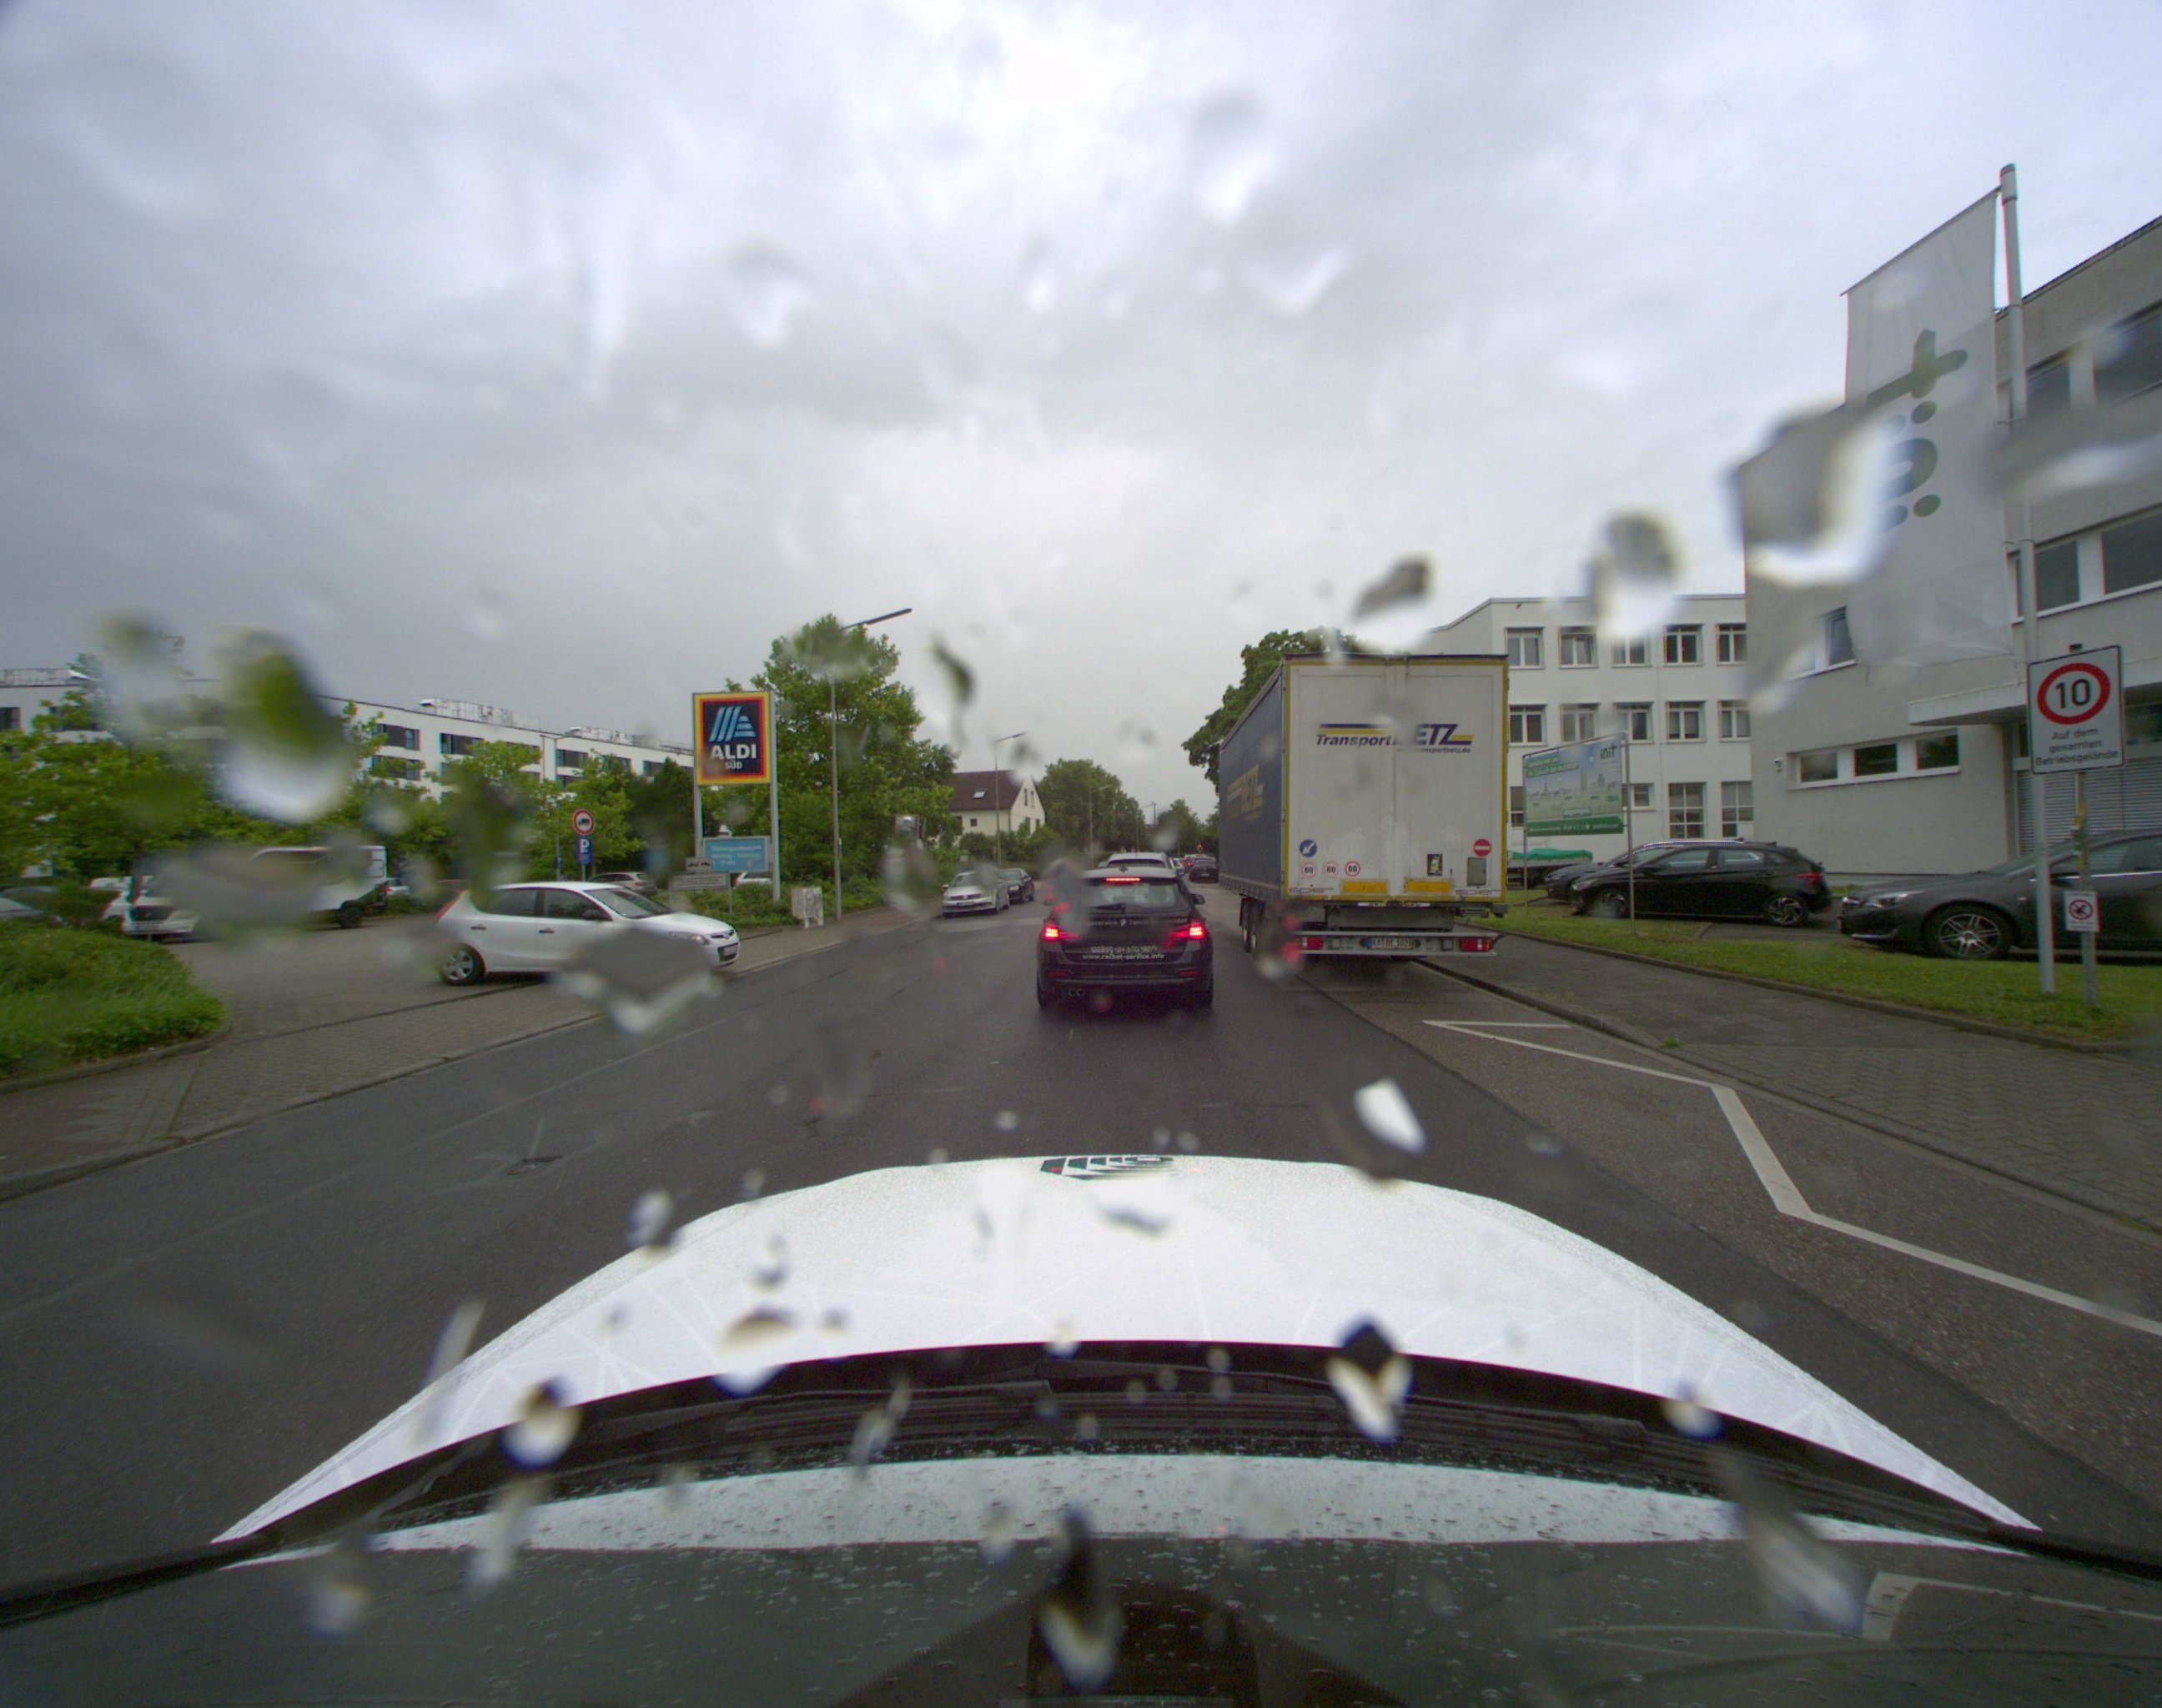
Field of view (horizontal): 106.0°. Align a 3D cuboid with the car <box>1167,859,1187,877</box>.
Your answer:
[{"bbox_3d":[9.223,1.342,77.996,1.794,1.587,4.009,-1,-1,8],"label":"car"}]

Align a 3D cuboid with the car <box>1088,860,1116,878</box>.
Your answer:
[{"bbox_3d":[1.825,1.257,69.455,1.694,1.367,3.850,-4,0,11],"label":"car"}]

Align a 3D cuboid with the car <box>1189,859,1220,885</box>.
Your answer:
[{"bbox_3d":[7.990,1.143,53.089,1.795,1.587,4.007,-1,-1,6],"label":"car"}]

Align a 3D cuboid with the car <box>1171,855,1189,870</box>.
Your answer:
[{"bbox_3d":[10.541,0.925,86.329,1.794,1.587,4.009,-1,-1,8],"label":"car"}]

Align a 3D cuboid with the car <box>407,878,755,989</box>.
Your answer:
[{"bbox_3d":[-7.429,1.145,12.428,4.180,1.460,1.711,-1,-1,-3],"label":"car"}]

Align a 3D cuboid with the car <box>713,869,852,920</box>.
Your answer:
[{"bbox_3d":[-8.981,1.208,24.684,3.556,1.460,1.713,0,-1,2],"label":"car"}]

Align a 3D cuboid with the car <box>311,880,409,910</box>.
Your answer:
[{"bbox_3d":[-42.054,2.361,47.551,3.971,1.529,2.001,-2,-1,2],"label":"car"}]

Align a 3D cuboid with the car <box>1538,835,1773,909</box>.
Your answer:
[{"bbox_3d":[12.620,0.346,18.024,4.098,1.415,1.701,0,2,41],"label":"car"}]

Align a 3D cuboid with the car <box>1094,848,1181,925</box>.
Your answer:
[{"bbox_3d":[1.410,0.711,19.095,1.795,1.587,4.007,-1,-1,6],"label":"car"}]

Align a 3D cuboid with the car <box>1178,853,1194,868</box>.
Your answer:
[{"bbox_3d":[12.163,0.734,94.080,1.794,1.586,4.009,-2,0,8],"label":"car"}]

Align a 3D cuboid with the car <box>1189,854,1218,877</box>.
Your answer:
[{"bbox_3d":[8.651,0.824,57.784,1.795,1.587,4.007,-1,-1,6],"label":"car"}]

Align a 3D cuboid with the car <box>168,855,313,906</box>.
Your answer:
[{"bbox_3d":[-40.976,1.233,39.908,1.986,2.297,4.814,-2,-1,1],"label":"car"}]

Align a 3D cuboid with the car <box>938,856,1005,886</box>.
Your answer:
[{"bbox_3d":[-6.913,1.080,51.603,3.806,1.594,1.714,-4,-1,6],"label":"car"}]

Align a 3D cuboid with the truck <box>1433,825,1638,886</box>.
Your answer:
[{"bbox_3d":[17.884,0.079,32.300,6.897,2.140,2.095,-2,-1,1],"label":"truck"}]

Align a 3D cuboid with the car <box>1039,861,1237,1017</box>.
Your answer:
[{"bbox_3d":[0.481,0.811,9.477,1.799,1.395,3.997,-1,-1,-1],"label":"car"}]

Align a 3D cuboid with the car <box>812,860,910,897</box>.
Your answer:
[{"bbox_3d":[-10.213,1.122,38.056,3.972,1.540,1.911,-2,-1,1],"label":"car"}]

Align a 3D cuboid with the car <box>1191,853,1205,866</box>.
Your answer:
[{"bbox_3d":[16.099,0.745,111.709,1.794,1.586,4.009,-2,0,8],"label":"car"}]

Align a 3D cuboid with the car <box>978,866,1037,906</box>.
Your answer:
[{"bbox_3d":[-2.907,1.264,32.960,1.698,1.367,3.842,-4,0,4],"label":"car"}]

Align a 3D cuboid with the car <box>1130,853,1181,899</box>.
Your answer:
[{"bbox_3d":[2.844,0.792,30.716,1.795,1.587,4.007,-1,-1,6],"label":"car"}]

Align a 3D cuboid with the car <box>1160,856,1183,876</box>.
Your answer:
[{"bbox_3d":[7.595,0.977,68.054,1.794,1.587,4.009,-1,-1,8],"label":"car"}]

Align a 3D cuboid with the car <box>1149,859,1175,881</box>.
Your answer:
[{"bbox_3d":[6.155,1.205,61.615,1.794,1.587,4.009,-1,-1,8],"label":"car"}]

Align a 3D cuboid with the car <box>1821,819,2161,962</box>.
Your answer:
[{"bbox_3d":[11.521,0.364,9.125,4.615,1.468,1.803,-2,-1,38],"label":"car"}]

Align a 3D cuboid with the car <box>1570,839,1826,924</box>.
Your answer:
[{"bbox_3d":[11.722,0.430,15.643,3.732,1.396,1.738,2,2,40],"label":"car"}]

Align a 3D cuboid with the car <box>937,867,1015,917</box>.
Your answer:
[{"bbox_3d":[-3.396,1.205,27.137,1.699,1.367,4.604,-4,0,2],"label":"car"}]

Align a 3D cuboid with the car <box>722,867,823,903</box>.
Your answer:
[{"bbox_3d":[-14.491,1.451,38.382,3.972,1.540,1.911,-2,-1,1],"label":"car"}]

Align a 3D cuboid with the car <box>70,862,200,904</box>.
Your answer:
[{"bbox_3d":[-48.616,1.463,41.990,1.986,2.014,4.001,-1,-1,1],"label":"car"}]

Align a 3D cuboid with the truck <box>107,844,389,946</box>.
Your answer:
[{"bbox_3d":[-24.843,1.110,24.828,1.987,2.657,6.395,-2,0,0],"label":"truck"}]

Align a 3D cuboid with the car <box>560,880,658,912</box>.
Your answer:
[{"bbox_3d":[-24.921,2.205,43.134,3.971,1.499,2.001,-2,-1,2],"label":"car"}]

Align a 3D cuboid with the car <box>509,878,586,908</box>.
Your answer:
[{"bbox_3d":[-34.292,2.513,52.428,3.806,1.594,1.714,-4,-1,6],"label":"car"}]

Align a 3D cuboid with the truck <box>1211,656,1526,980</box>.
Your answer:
[{"bbox_3d":[3.847,-0.389,13.019,2.729,3.611,7.757,1,-1,4],"label":"truck"}]
